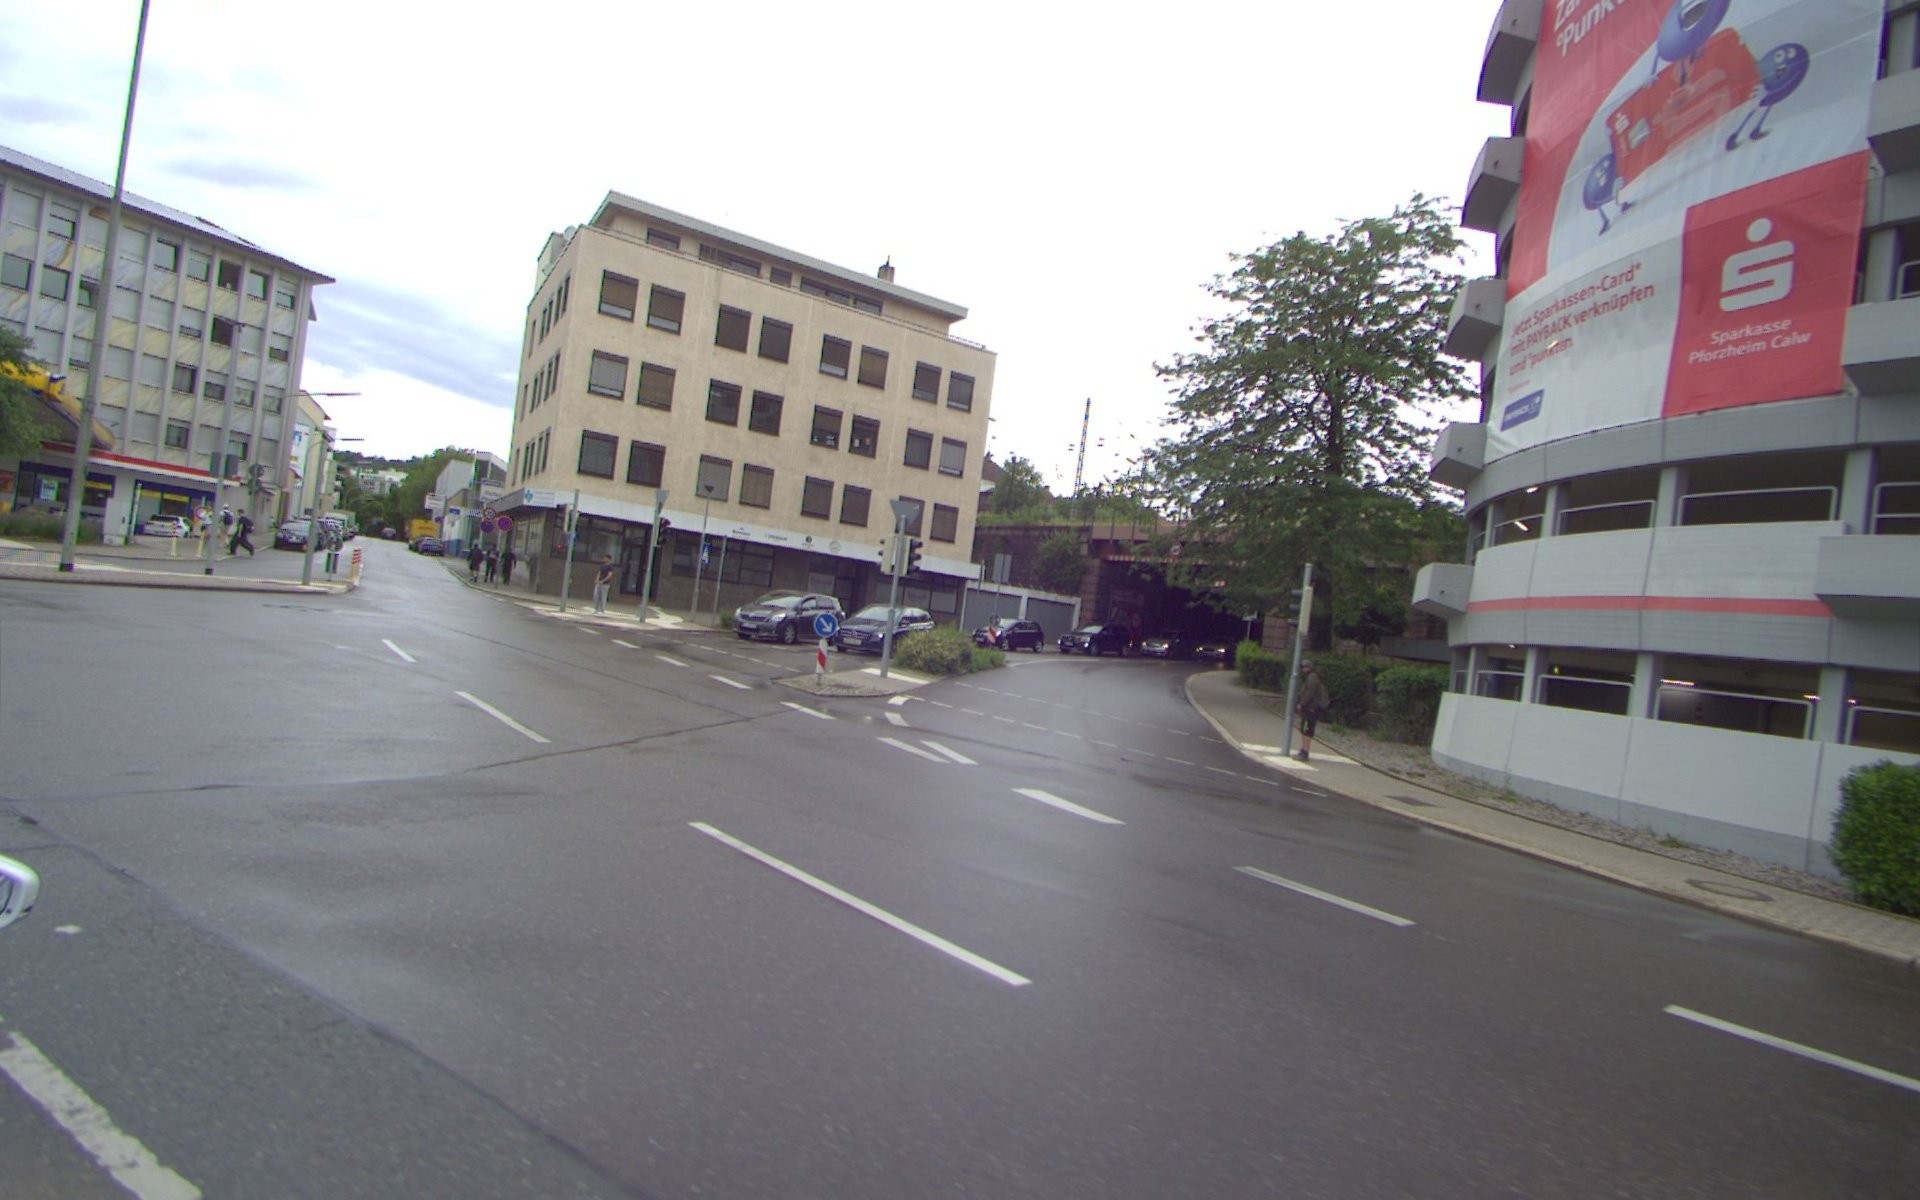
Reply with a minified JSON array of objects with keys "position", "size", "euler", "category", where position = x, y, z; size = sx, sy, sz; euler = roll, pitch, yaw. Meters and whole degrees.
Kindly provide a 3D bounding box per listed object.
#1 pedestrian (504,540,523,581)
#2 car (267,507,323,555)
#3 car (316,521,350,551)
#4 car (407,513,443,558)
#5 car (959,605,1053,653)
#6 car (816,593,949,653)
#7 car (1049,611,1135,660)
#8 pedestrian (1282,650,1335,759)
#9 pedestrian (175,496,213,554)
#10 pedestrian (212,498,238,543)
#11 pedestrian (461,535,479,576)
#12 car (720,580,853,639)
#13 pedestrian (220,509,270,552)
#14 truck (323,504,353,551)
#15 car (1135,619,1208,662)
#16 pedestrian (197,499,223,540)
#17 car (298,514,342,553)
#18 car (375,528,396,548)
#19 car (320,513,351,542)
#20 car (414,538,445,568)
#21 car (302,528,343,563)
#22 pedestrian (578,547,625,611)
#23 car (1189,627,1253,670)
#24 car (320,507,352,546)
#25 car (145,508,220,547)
[{"position":[-19.979,-1.744,45.007],"size":[0.475,1.762,0.570],"euler":[8,-2,-30],"category":"pedestrian"},{"position":[-33.492,-3.426,50.758],"size":[1.981,1.885,4.545],"euler":[9,-3,-31],"category":"car"},{"position":[-48.833,-4.946,78.471],"size":[1.981,1.885,4.545],"euler":[9,-3,-31],"category":"car"},{"position":[-50.738,-6.064,95.343],"size":[2.360,3.728,4.958],"euler":[9,-3,-30],"category":"car"},{"position":[2.116,1.341,45.846],"size":[1.975,1.602,3.980],"euler":[5,-4,45],"category":"car"},{"position":[-2.271,0.752,30.820],"size":[1.965,1.462,4.479],"euler":[7,0,26],"category":"car"},{"position":[6.605,1.771,49.924],"size":[1.975,1.802,4.143],"euler":[5,-4,45],"category":"car"},{"position":[6.441,1.929,18.613],"size":[0.499,1.915,0.543],"euler":[6,3,-10],"category":"pedestrian"},{"position":[-36.853,-3.603,48.402],"size":[1.134,2.595,1.004],"euler":[5,-3,44],"category":"pedestrian"},{"position":[-30.611,-3.304,41.883],"size":[0.674,1.777,0.724],"euler":[9,-2,-37],"category":"pedestrian"},{"position":[-21.626,-1.956,44.399],"size":[0.475,1.762,0.570],"euler":[8,-2,-30],"category":"pedestrian"},{"position":[-5.284,0.354,31.264],"size":[1.963,1.462,4.483],"euler":[7,0,21],"category":"car"},{"position":[-27.323,-2.642,38.469],"size":[1.095,1.368,0.916],"euler":[8,-2,-11],"category":"pedestrian"},{"position":[-59.577,-6.923,96.439],"size":[1.980,3.957,5.443],"euler":[9,-3,-31],"category":"truck"},{"position":[11.739,2.269,55.792],"size":[1.975,1.802,3.980],"euler":[5,-4,45],"category":"car"},{"position":[-30.107,-3.232,40.377],"size":[0.472,1.532,0.574],"euler":[8,-2,-11],"category":"pedestrian"},{"position":[-38.761,-3.966,61.013],"size":[1.981,1.885,4.545],"euler":[9,-3,-31],"category":"car"},{"position":[-71.674,-7.733,125.443],"size":[1.979,2.036,3.973],"euler":[9,-3,-29],"category":"car"},{"position":[-51.820,-5.987,83.542],"size":[1.981,1.885,4.545],"euler":[9,-3,-31],"category":"car"},{"position":[-43.844,-3.843,83.067],"size":[1.979,2.036,3.973],"euler":[9,-3,-29],"category":"car"},{"position":[-42.144,-3.586,66.608],"size":[1.981,1.885,4.545],"euler":[9,-3,-31],"category":"car"},{"position":[-11.010,-0.628,30.926],"size":[0.761,1.811,0.859],"euler":[6,-2,26],"category":"pedestrian"},{"position":[15.642,2.935,60.185],"size":[1.973,2.036,3.984],"euler":[5,-4,42],"category":"car"},{"position":[-55.929,-6.548,90.222],"size":[1.980,3.006,4.545],"euler":[9,-3,-31],"category":"car"},{"position":[-41.066,-3.805,53.267],"size":[1.973,1.534,4.398],"euler":[6,-2,-23],"category":"car"}]
